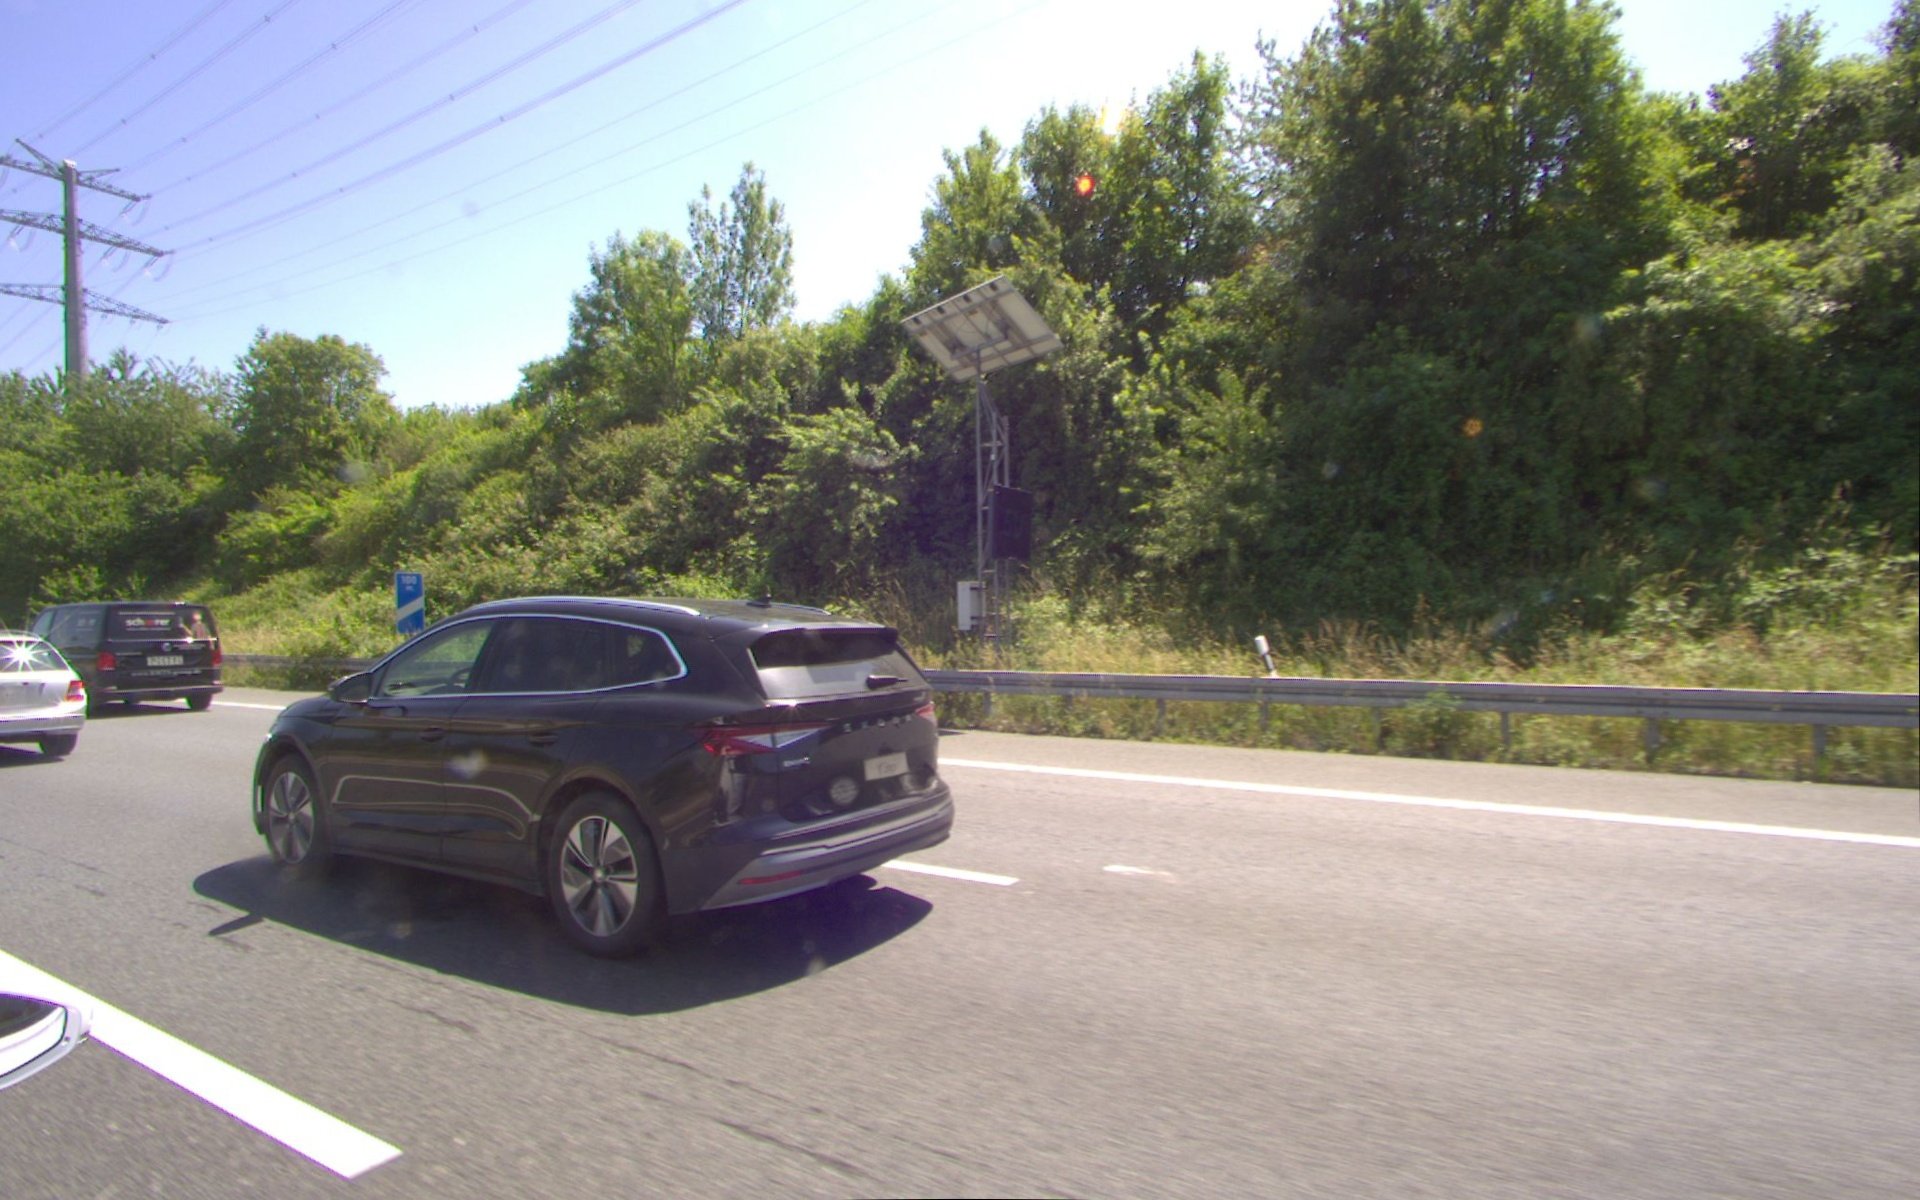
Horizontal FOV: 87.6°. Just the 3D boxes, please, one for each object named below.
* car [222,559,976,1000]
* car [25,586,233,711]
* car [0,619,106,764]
[{"bbox_3d":[-2.205,0.752,5.698,4.365,1.676,1.698,-1,-2,32],"label":"car"},{"bbox_3d":[-15.279,0.868,18.359,4.168,2.039,1.794,-1,-2,33],"label":"car"},{"bbox_3d":[-12.012,1.013,11.772,4.297,1.537,1.768,-1,-2,32],"label":"car"}]
